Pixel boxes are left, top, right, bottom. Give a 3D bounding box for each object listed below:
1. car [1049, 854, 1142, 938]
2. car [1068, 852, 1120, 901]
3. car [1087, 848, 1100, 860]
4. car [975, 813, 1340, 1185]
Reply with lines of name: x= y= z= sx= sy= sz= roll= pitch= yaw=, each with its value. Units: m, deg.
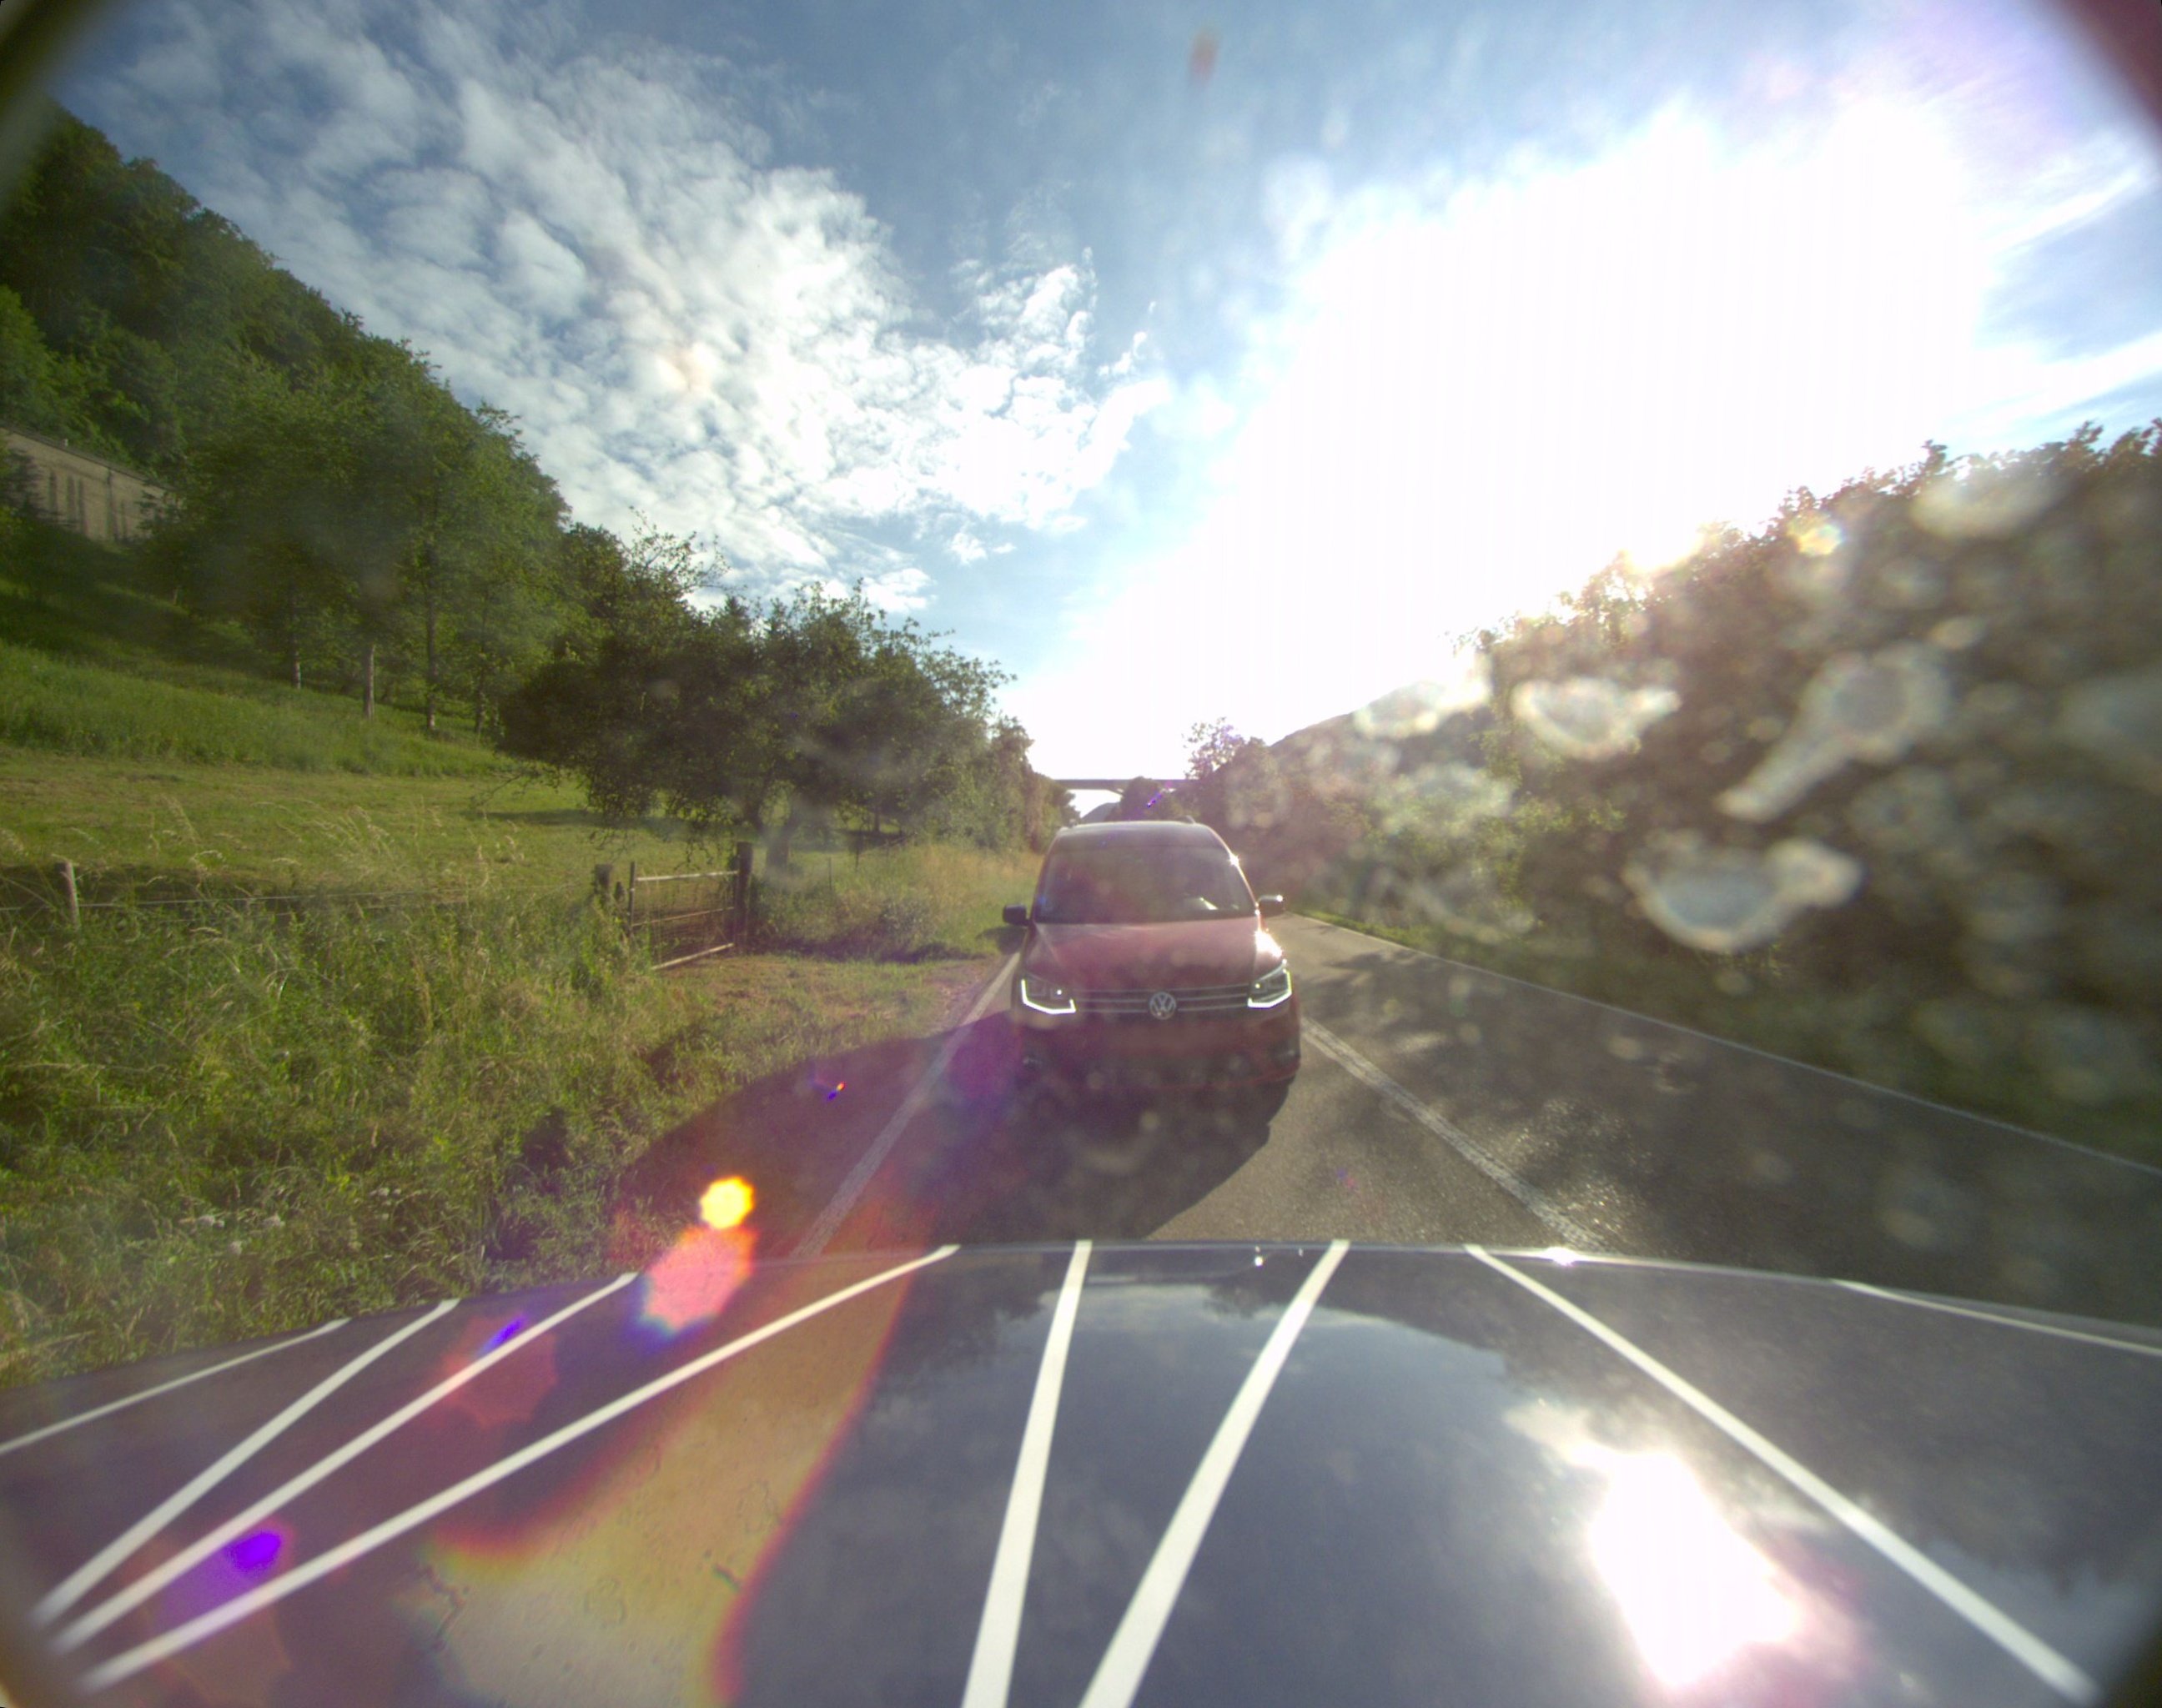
car: x=0.321 y=0.827 z=17.146 sx=1.753 sy=1.513 sz=4.288 roll=-3 pitch=1 yaw=1
car: x=0.517 y=0.781 z=29.107 sx=1.753 sy=1.608 sz=4.288 roll=-3 pitch=1 yaw=1
car: x=1.878 y=-0.045 z=114.902 sx=1.753 sy=1.608 sz=4.288 roll=-3 pitch=1 yaw=1
car: x=0.431 y=0.717 z=5.984 sx=1.753 sy=1.800 sz=4.288 roll=-3 pitch=1 yaw=1
